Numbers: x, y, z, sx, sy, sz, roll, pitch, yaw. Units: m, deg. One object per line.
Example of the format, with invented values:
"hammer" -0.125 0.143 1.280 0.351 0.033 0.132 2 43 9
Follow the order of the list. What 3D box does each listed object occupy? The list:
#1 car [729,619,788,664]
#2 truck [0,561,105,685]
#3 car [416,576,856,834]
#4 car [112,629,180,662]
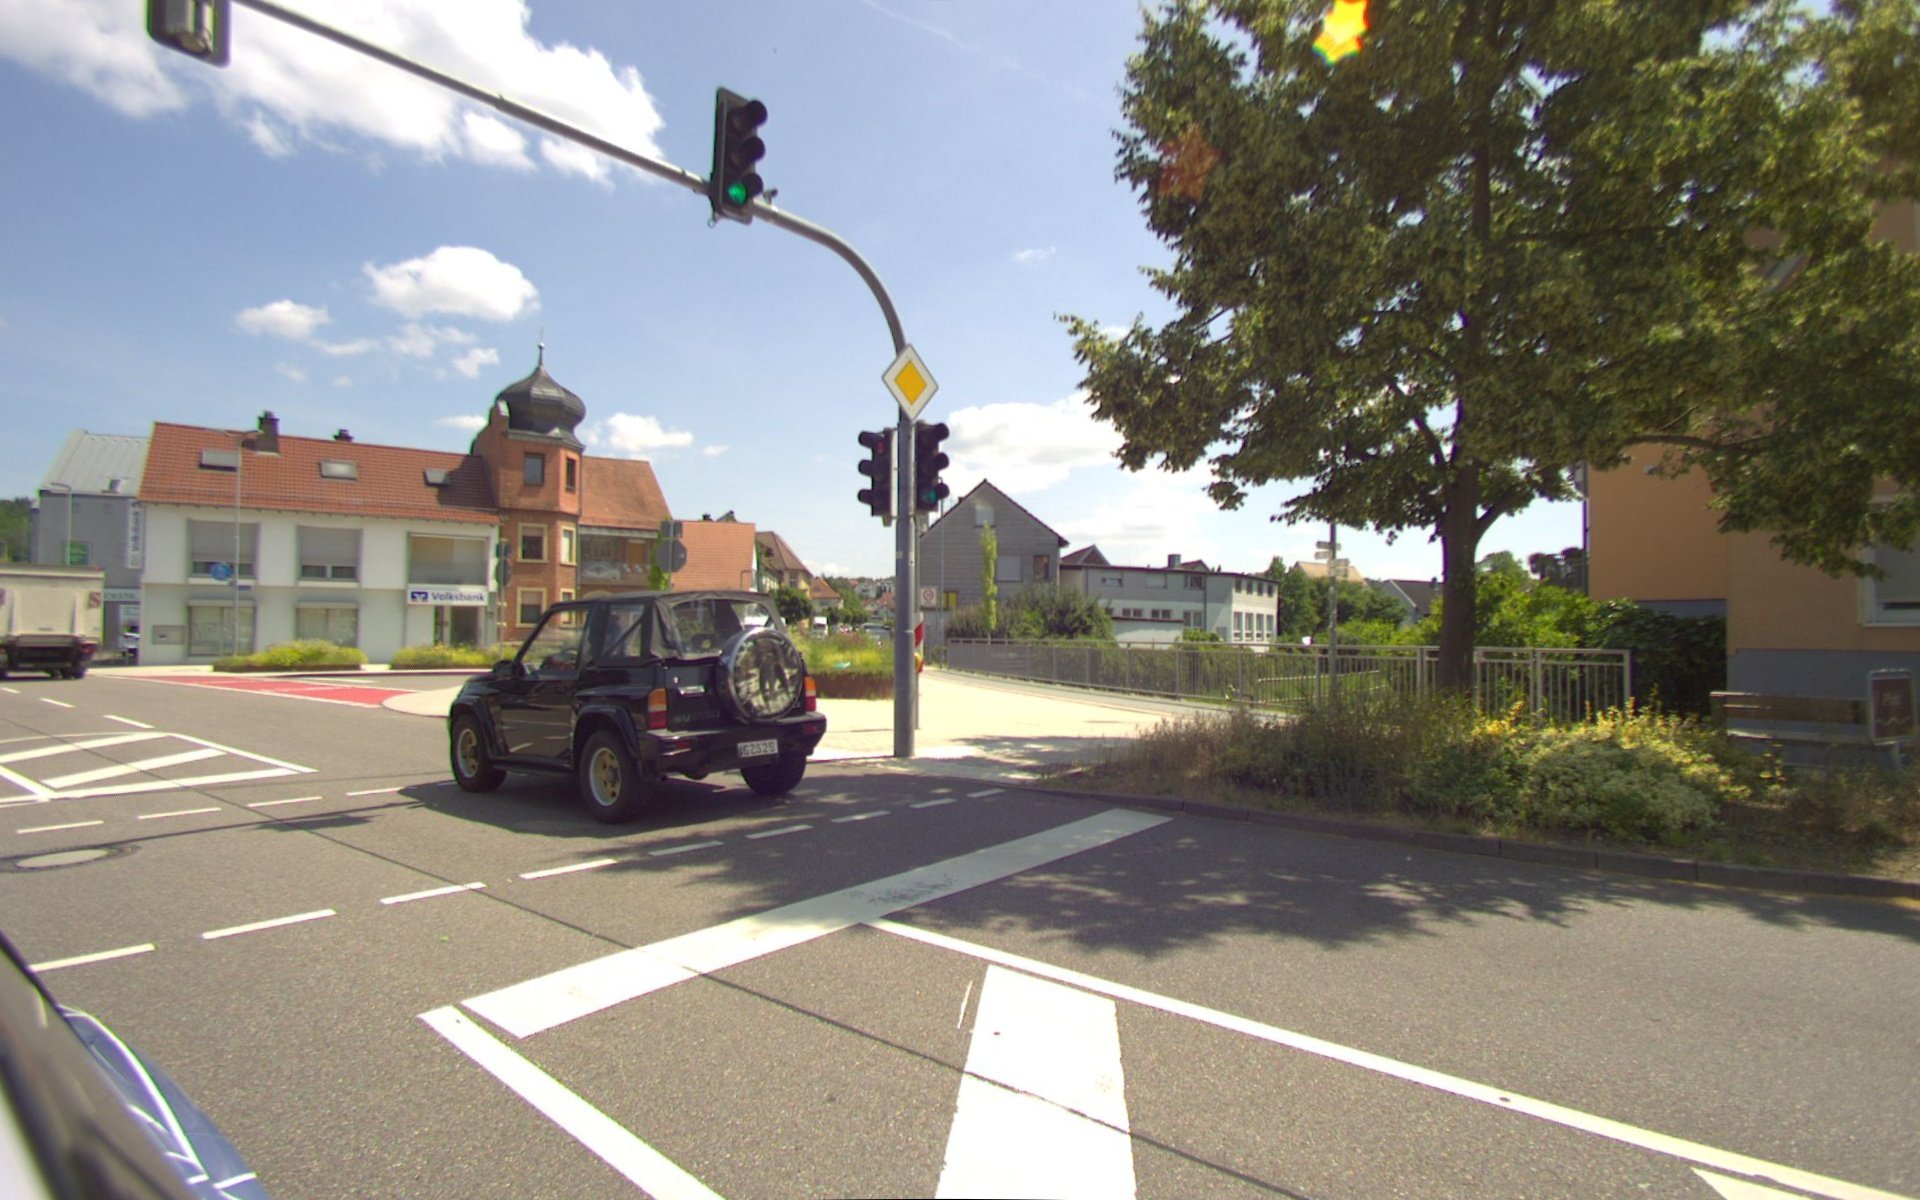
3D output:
"car" -11.070 2.289 55.894 2.143 2.363 5.110 1 -2 0
"truck" -27.047 0.711 29.253 6.035 3.260 2.476 -2 -4 40
"car" -2.771 0.732 8.358 3.664 1.664 1.722 -1 -2 39
"car" -41.878 2.349 52.172 1.965 1.587 4.266 2 -3 -29
